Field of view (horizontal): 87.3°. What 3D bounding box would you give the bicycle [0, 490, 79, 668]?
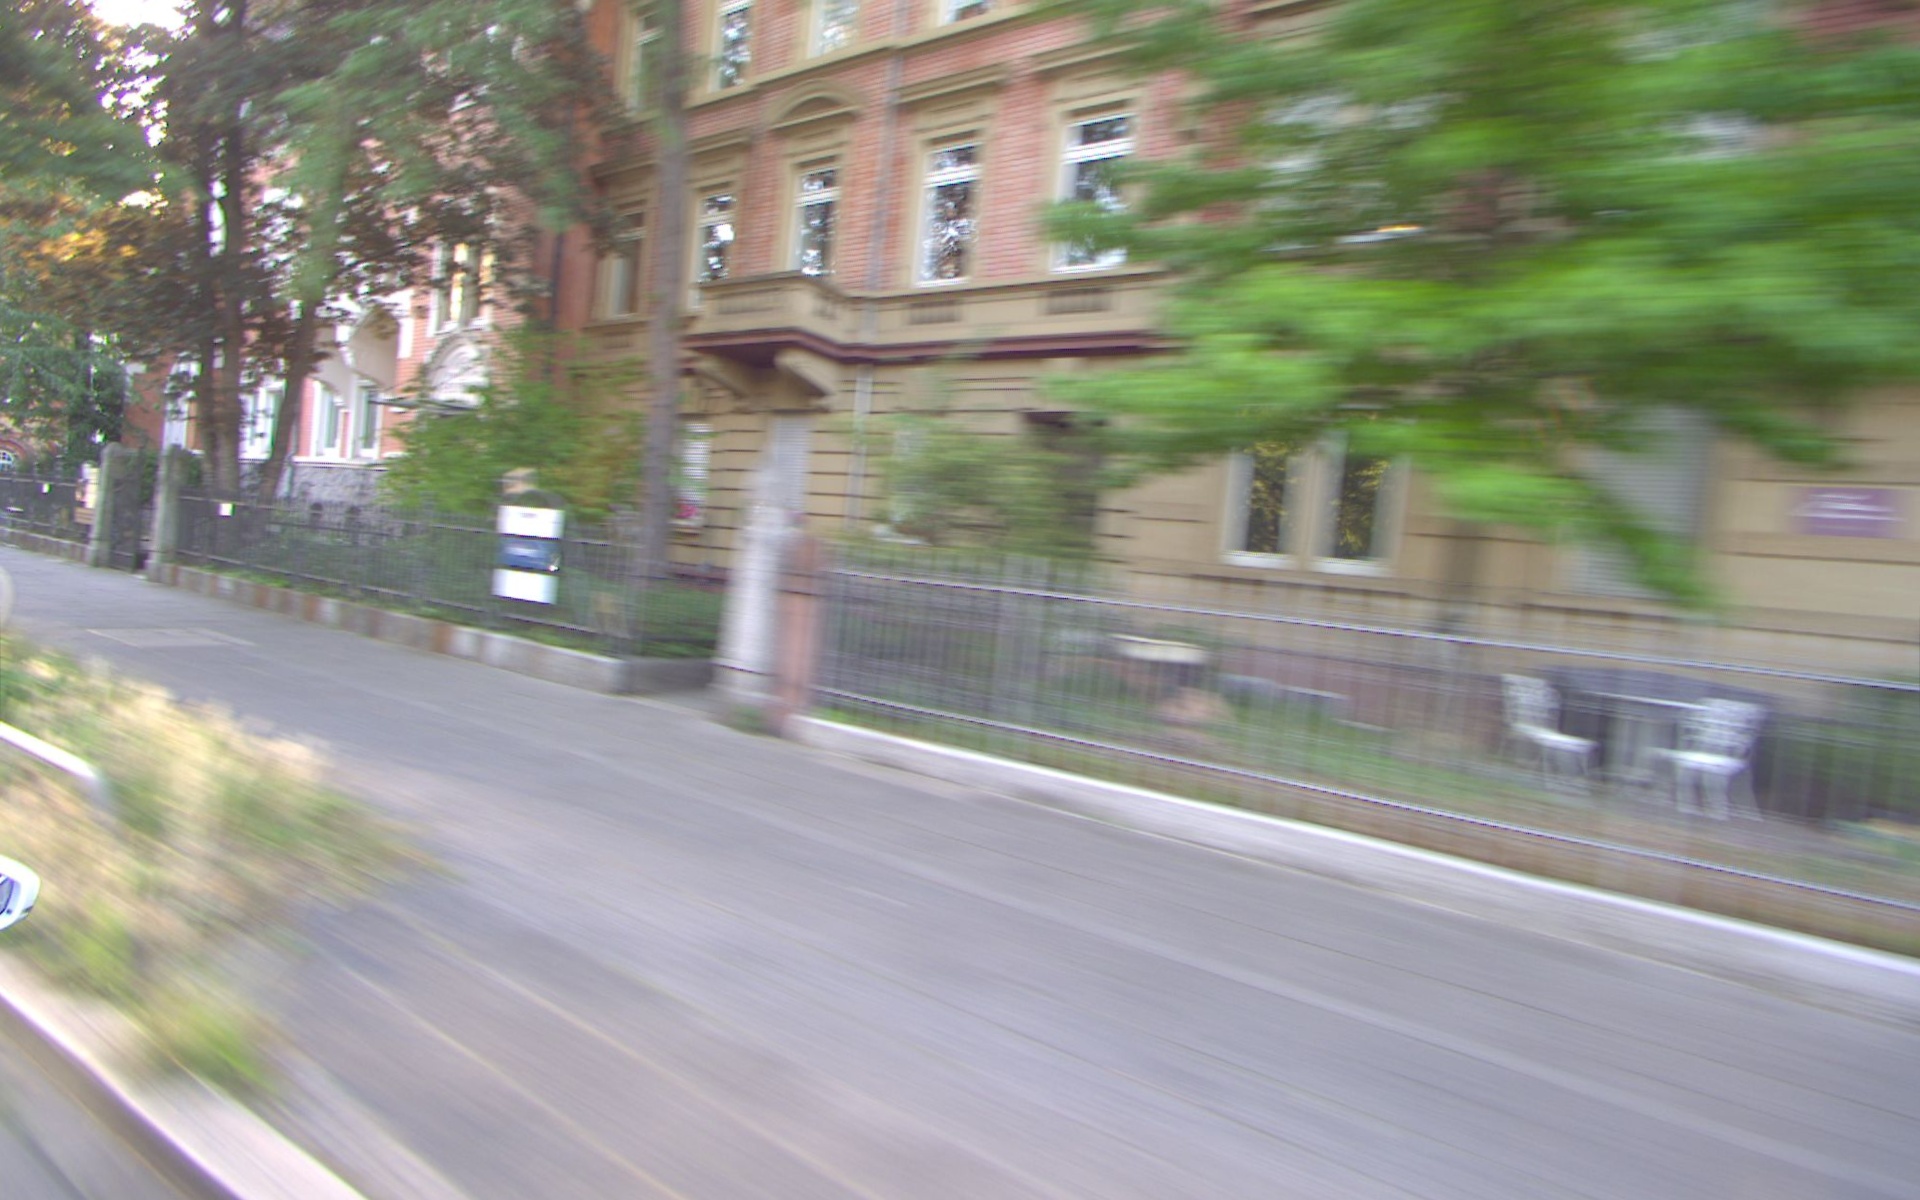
[{"bbox_3d":[-7.223,-0.229,7.267,1.898,1.181,0.647,7,-1,31],"label":"bicycle"}]
